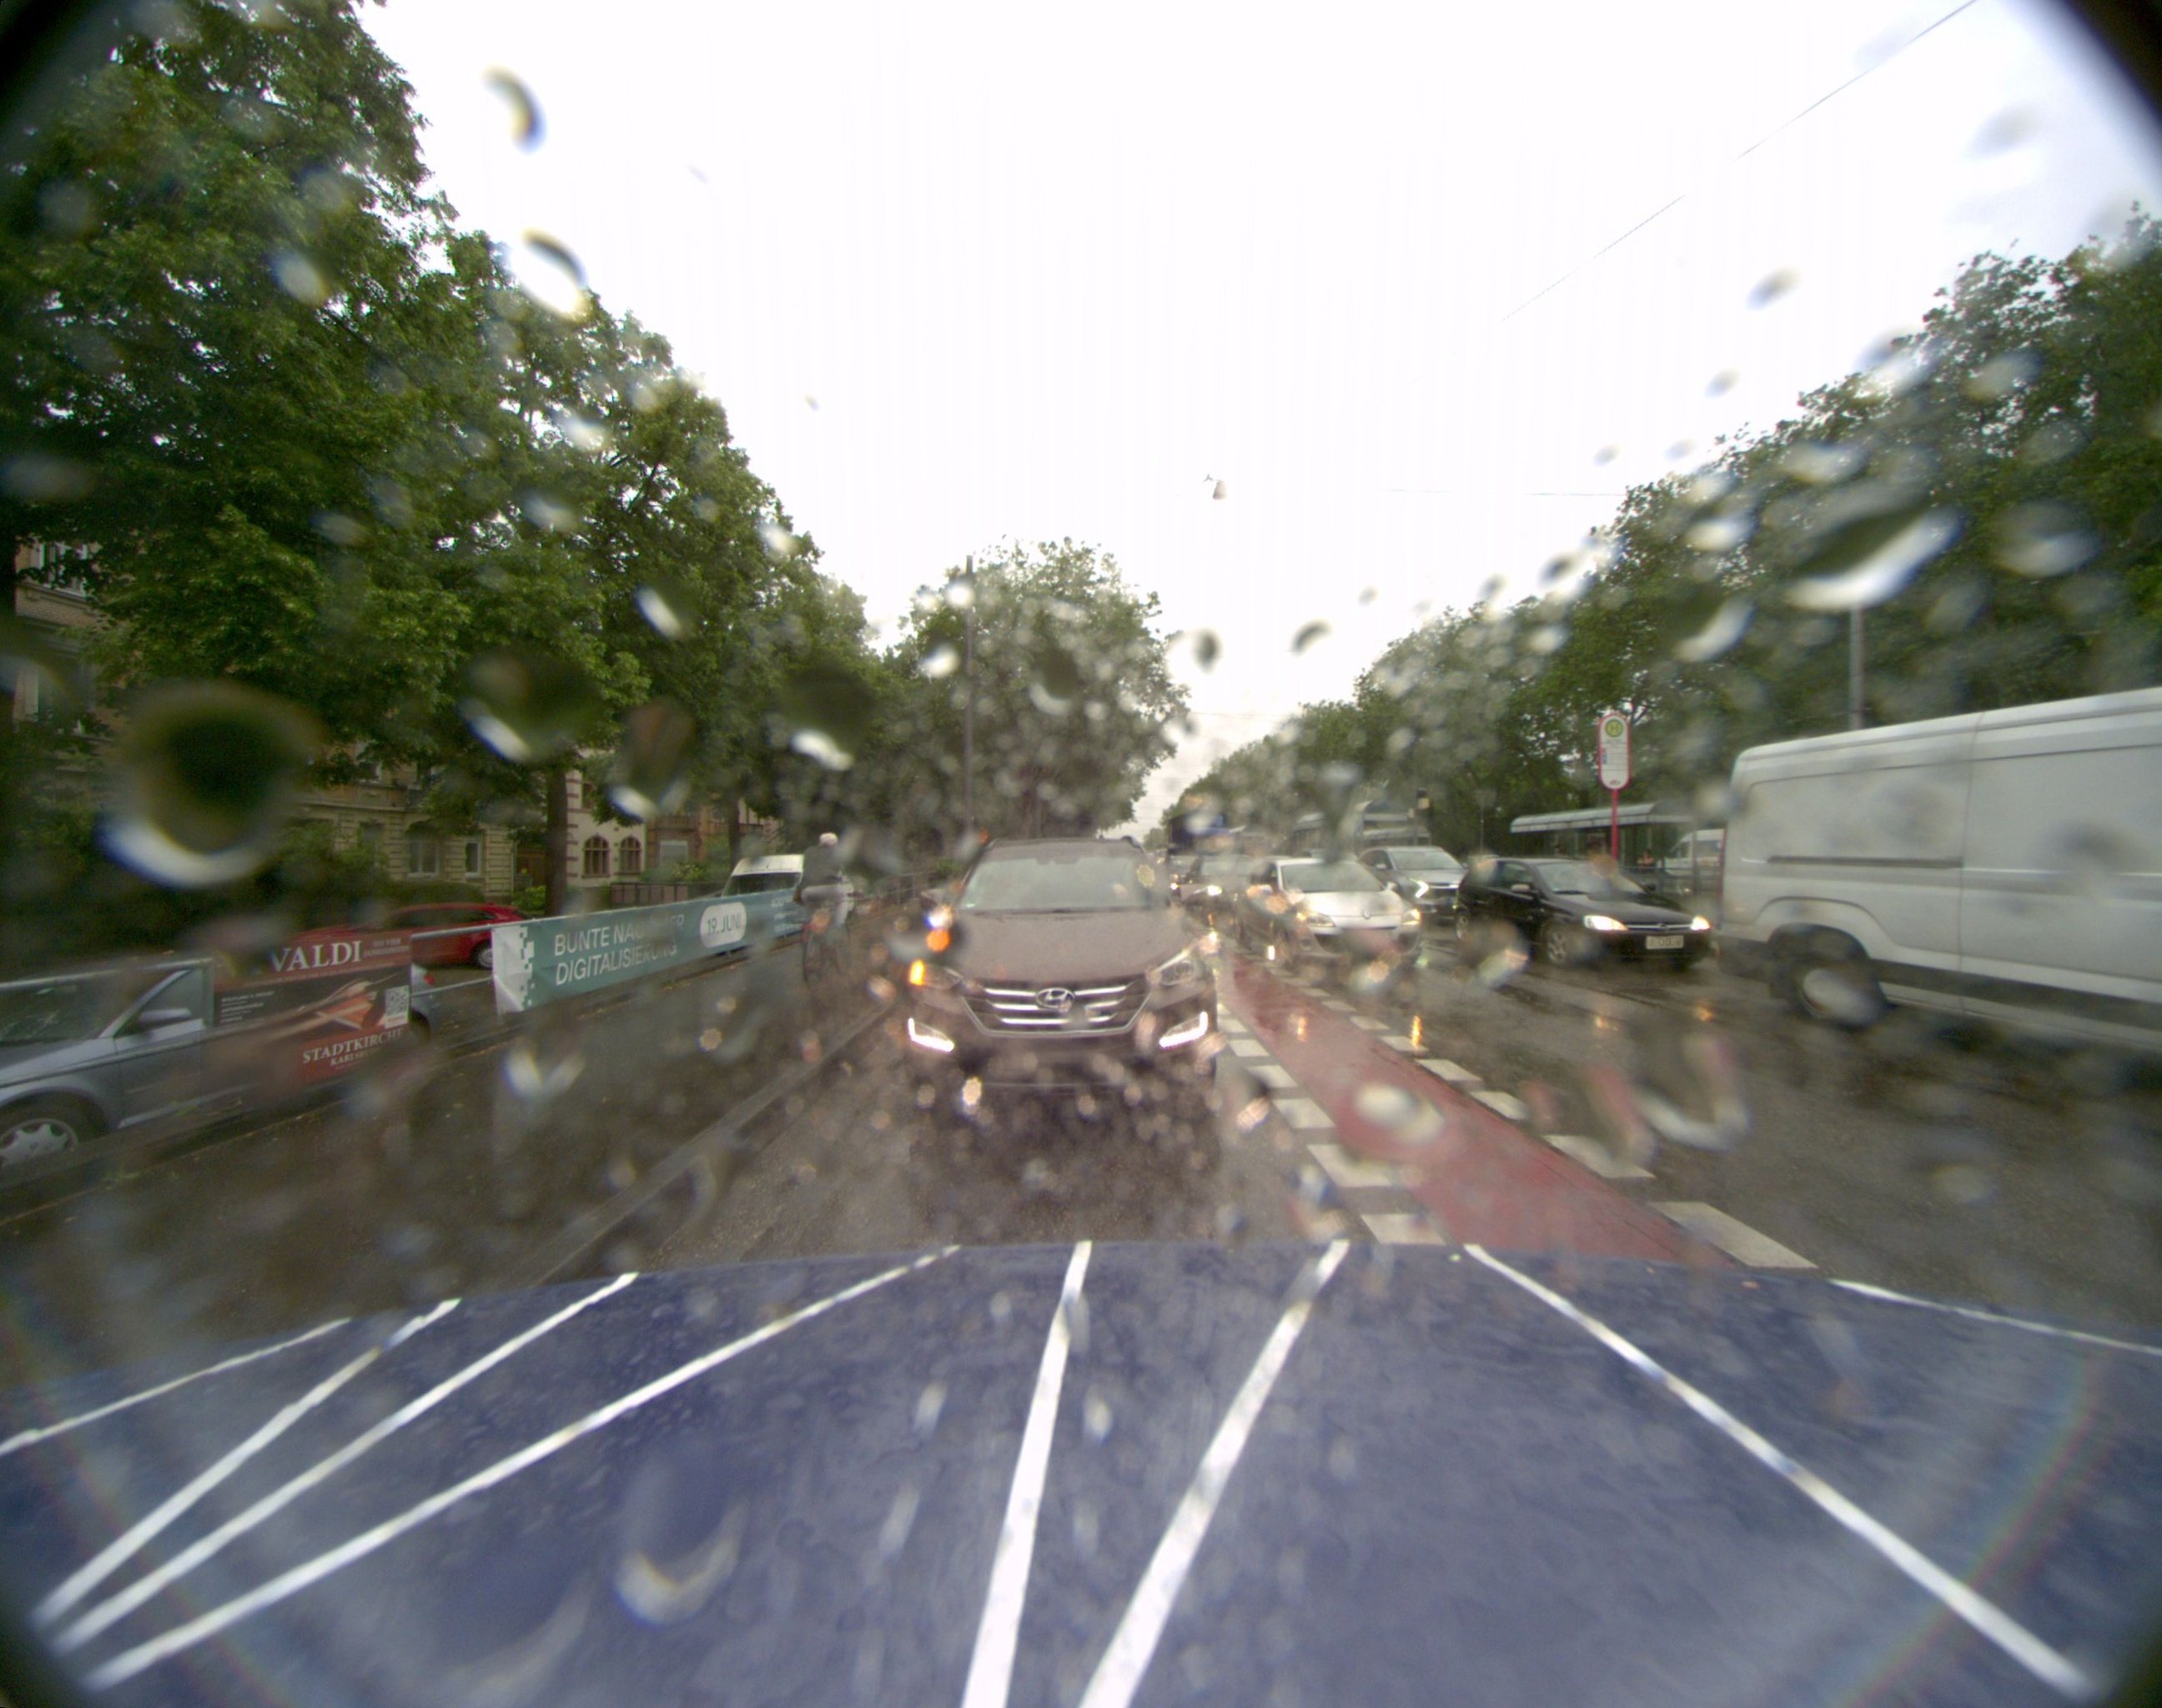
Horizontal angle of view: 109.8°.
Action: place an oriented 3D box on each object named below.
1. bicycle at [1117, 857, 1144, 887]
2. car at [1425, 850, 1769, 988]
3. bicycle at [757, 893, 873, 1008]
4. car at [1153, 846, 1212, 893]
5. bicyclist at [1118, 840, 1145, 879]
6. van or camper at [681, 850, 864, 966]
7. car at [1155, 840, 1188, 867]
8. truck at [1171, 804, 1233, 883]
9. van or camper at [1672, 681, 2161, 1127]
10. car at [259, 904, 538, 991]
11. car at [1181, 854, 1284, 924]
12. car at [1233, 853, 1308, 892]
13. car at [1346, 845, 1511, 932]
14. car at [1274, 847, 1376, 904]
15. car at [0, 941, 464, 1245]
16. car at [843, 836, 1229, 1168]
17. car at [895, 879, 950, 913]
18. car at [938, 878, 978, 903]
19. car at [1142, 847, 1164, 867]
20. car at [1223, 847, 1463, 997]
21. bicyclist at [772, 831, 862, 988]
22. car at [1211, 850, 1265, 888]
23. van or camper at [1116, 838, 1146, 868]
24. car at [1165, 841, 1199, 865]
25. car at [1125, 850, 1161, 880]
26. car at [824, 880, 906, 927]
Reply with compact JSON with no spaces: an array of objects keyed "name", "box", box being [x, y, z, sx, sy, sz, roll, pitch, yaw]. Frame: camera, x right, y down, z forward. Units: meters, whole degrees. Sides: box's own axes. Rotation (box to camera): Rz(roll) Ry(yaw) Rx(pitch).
[{"name":"bicycle","box":[1.920,0.680,29.659,0.819,1.082,1.997,-2,1,-1]},{"name":"car","box":[6.834,0.761,10.823,1.786,1.504,4.557,-1,-1,0]},{"name":"bicycle","box":[-2.896,1.005,8.471,0.740,1.066,1.866,0,-1,-4]},{"name":"car","box":[3.878,0.597,29.771,1.912,1.637,4.192,-1,-1,3]},{"name":"bicyclist","box":[1.968,0.197,29.511,0.927,1.461,0.805,-2,1,-1]},{"name":"van or camper","box":[-7.797,1.258,20.106,2.332,2.575,6.097,-1,-1,0]},{"name":"car","box":[7.731,-0.085,65.559,2.344,2.137,5.454,-2,1,2]},{"name":"truck","box":[7.130,-0.529,45.809,2.417,4.251,8.354,-1,-1,1]},{"name":"van or camper","box":[7.035,0.266,4.617,2.181,2.456,5.970,-1,-1,0]},{"name":"car","box":[-14.589,1.933,16.619,4.294,1.461,1.705,-1,-1,-31]},{"name":"car","box":[3.769,0.834,19.733,1.912,1.540,4.668,-1,-1,3]},{"name":"car","box":[7.458,0.726,30.306,1.913,1.399,4.191,-1,-1,0]},{"name":"car","box":[7.423,0.701,16.744,1.847,1.625,4.249,-1,-1,3]},{"name":"car","box":[7.783,0.679,24.640,1.913,1.637,4.191,-1,-1,0]},{"name":"car","box":[-7.205,1.606,5.646,1.731,1.461,4.217,-1,-1,1]},{"name":"car","box":[-0.125,0.784,6.160,1.912,1.637,4.682,-1,-1,3]},{"name":"car","box":[-7.532,1.990,36.456,1.704,1.363,4.000,-2,0,1]},{"name":"car","box":[-7.802,2.303,48.579,1.808,1.446,4.001,-1,-1,1]},{"name":"car","box":[7.449,0.377,78.874,1.998,2.001,4.001,-1,-1,1]},{"name":"car","box":[3.514,0.835,11.162,1.975,1.731,4.267,-1,-1,-1]},{"name":"bicyclist","box":[-2.905,0.590,8.436,0.738,1.646,0.877,0,0,-4]},{"name":"car","box":[7.449,0.708,36.361,1.912,1.637,4.192,-1,-1,3]},{"name":"van or camper","box":[4.381,-0.078,67.263,2.144,2.484,5.713,-1,-1,-1]},{"name":"car","box":[7.658,-0.080,57.965,1.998,1.706,3.999,-2,1,1]},{"name":"car","box":[4.020,0.690,49.917,1.998,1.737,3.999,-2,1,1]},{"name":"car","box":[-7.646,1.708,27.274,1.630,1.341,4.216,-1,1,1]}]
